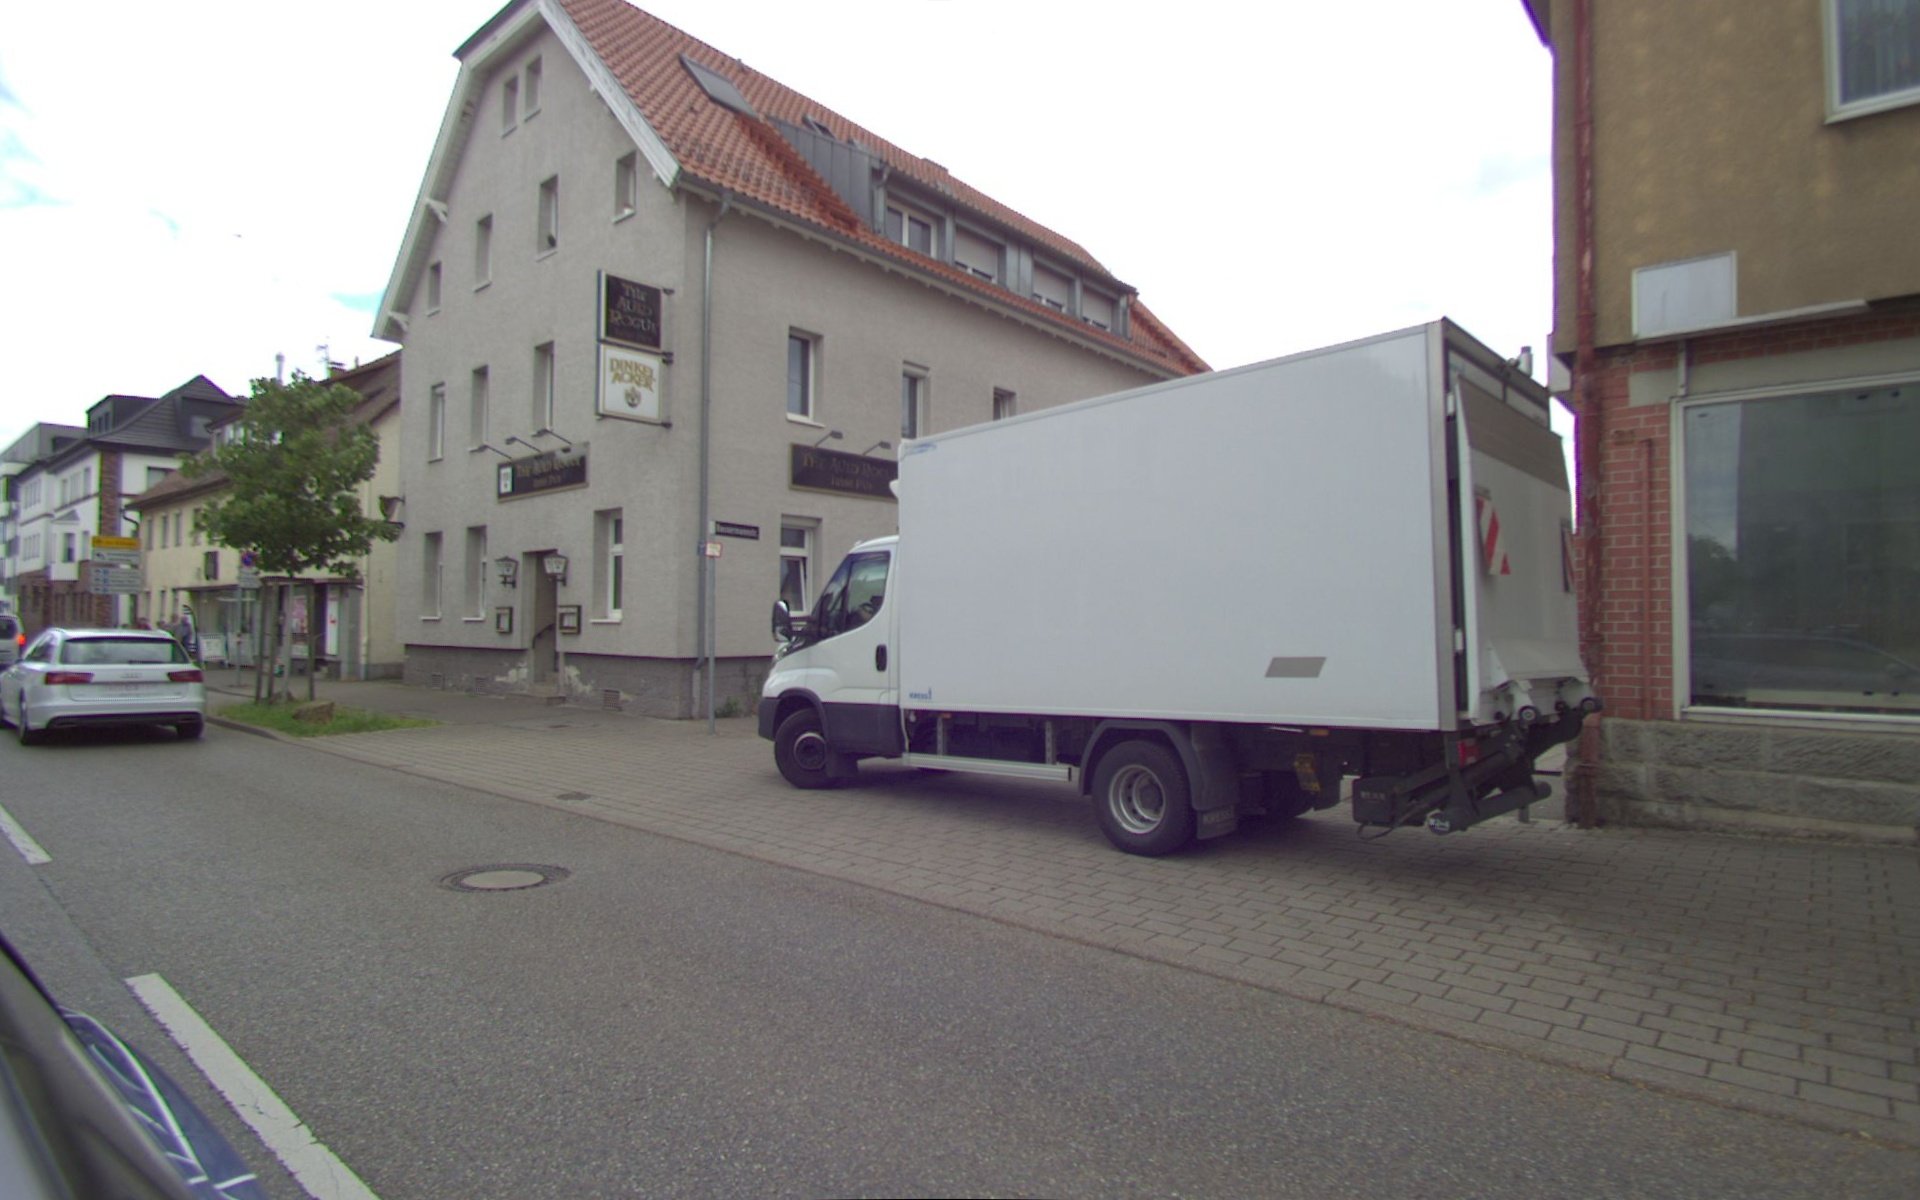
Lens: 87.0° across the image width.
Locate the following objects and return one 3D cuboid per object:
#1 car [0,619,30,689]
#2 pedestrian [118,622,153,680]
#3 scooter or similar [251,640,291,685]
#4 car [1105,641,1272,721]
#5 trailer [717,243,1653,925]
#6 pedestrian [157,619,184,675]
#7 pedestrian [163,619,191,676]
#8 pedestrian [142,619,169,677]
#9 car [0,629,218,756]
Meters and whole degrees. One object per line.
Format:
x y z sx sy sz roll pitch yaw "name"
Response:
-26.959 1.431 27.523 4.275 1.810 1.972 -1 -3 41 "car"
-25.139 1.537 30.864 0.717 1.750 0.670 -2 -3 41 "pedestrian"
-19.076 1.705 28.013 1.721 1.179 0.522 -1 -1 41 "scooter or similar"
5.072 1.723 22.163 1.780 1.492 3.943 -5 -4 43 "car"
1.053 0.028 8.209 7.138 3.244 2.475 -3 -2 45 "trailer"
-25.087 1.480 32.155 0.648 1.750 0.547 -2 -3 41 "pedestrian"
-24.106 1.457 31.155 0.648 1.750 0.547 -2 -3 41 "pedestrian"
-24.373 1.448 30.668 0.648 1.750 0.491 -2 -3 41 "pedestrian"
-11.890 1.144 13.847 4.541 1.444 1.823 -1 -3 41 "car"
